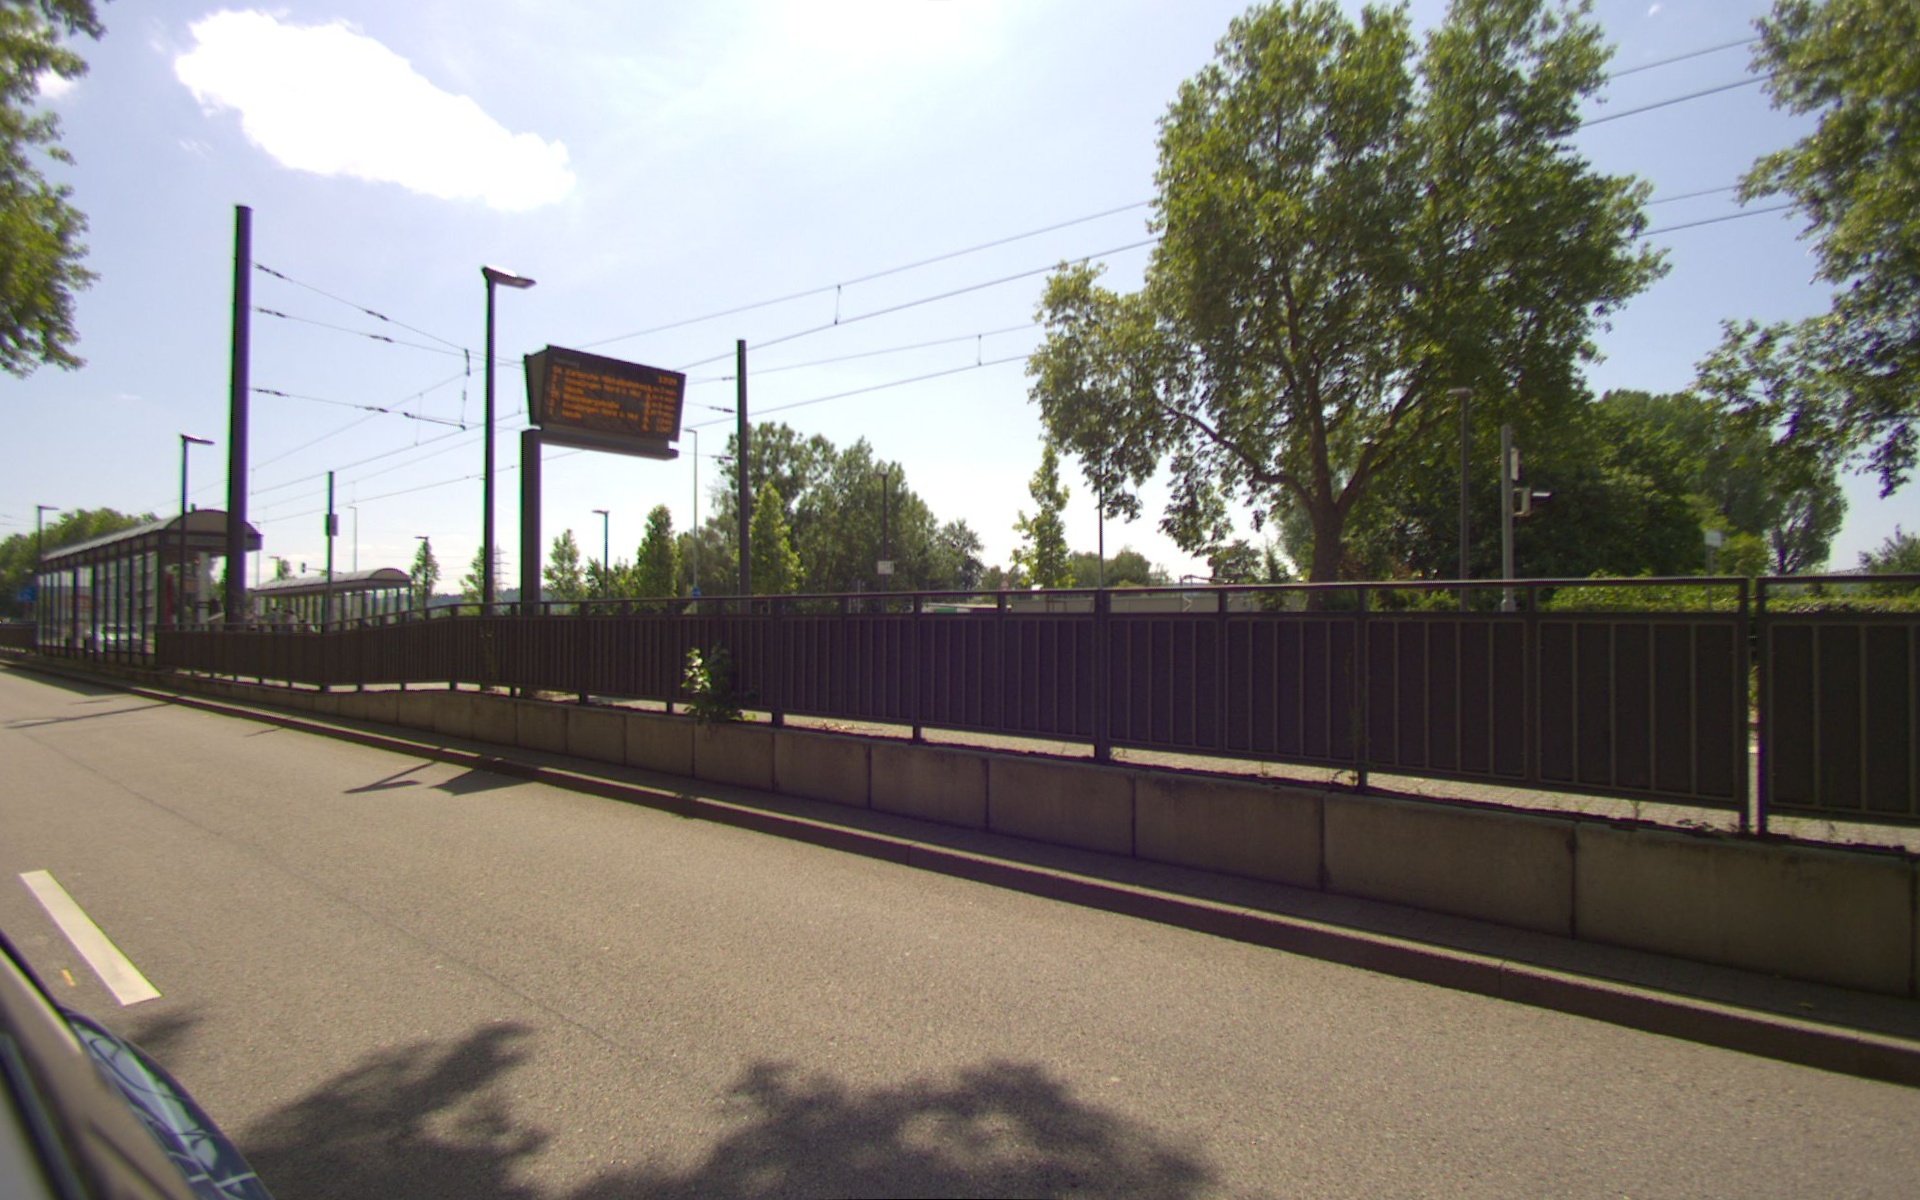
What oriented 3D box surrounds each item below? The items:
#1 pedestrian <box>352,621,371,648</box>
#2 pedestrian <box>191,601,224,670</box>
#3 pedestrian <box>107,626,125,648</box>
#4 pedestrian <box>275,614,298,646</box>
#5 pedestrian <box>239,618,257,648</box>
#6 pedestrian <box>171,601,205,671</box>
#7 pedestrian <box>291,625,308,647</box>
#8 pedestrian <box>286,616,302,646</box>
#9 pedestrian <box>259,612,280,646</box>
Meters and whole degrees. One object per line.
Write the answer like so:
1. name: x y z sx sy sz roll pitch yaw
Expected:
1. pedestrian: -26.827 1.530 45.333 0.639 1.199 0.570 -2 -2 42
2. pedestrian: -16.625 0.780 22.364 0.413 1.519 0.396 0 -1 0
3. pedestrian: -65.278 2.867 78.241 0.763 1.622 0.947 -2 -2 39
4. pedestrian: -34.763 1.529 52.236 0.814 1.651 0.580 0 -2 -12
5. pedestrian: -39.827 1.860 56.597 0.804 1.650 0.552 -2 -1 34
6. pedestrian: -17.056 0.788 22.370 0.413 1.519 0.396 0 -1 0
7. pedestrian: -32.865 1.777 50.368 0.639 1.103 0.570 -2 -2 42
8. pedestrian: -34.102 1.578 51.818 0.639 1.545 0.570 -2 -2 42
9. pedestrian: -36.098 1.502 52.898 0.726 1.742 0.580 0 -2 -12
